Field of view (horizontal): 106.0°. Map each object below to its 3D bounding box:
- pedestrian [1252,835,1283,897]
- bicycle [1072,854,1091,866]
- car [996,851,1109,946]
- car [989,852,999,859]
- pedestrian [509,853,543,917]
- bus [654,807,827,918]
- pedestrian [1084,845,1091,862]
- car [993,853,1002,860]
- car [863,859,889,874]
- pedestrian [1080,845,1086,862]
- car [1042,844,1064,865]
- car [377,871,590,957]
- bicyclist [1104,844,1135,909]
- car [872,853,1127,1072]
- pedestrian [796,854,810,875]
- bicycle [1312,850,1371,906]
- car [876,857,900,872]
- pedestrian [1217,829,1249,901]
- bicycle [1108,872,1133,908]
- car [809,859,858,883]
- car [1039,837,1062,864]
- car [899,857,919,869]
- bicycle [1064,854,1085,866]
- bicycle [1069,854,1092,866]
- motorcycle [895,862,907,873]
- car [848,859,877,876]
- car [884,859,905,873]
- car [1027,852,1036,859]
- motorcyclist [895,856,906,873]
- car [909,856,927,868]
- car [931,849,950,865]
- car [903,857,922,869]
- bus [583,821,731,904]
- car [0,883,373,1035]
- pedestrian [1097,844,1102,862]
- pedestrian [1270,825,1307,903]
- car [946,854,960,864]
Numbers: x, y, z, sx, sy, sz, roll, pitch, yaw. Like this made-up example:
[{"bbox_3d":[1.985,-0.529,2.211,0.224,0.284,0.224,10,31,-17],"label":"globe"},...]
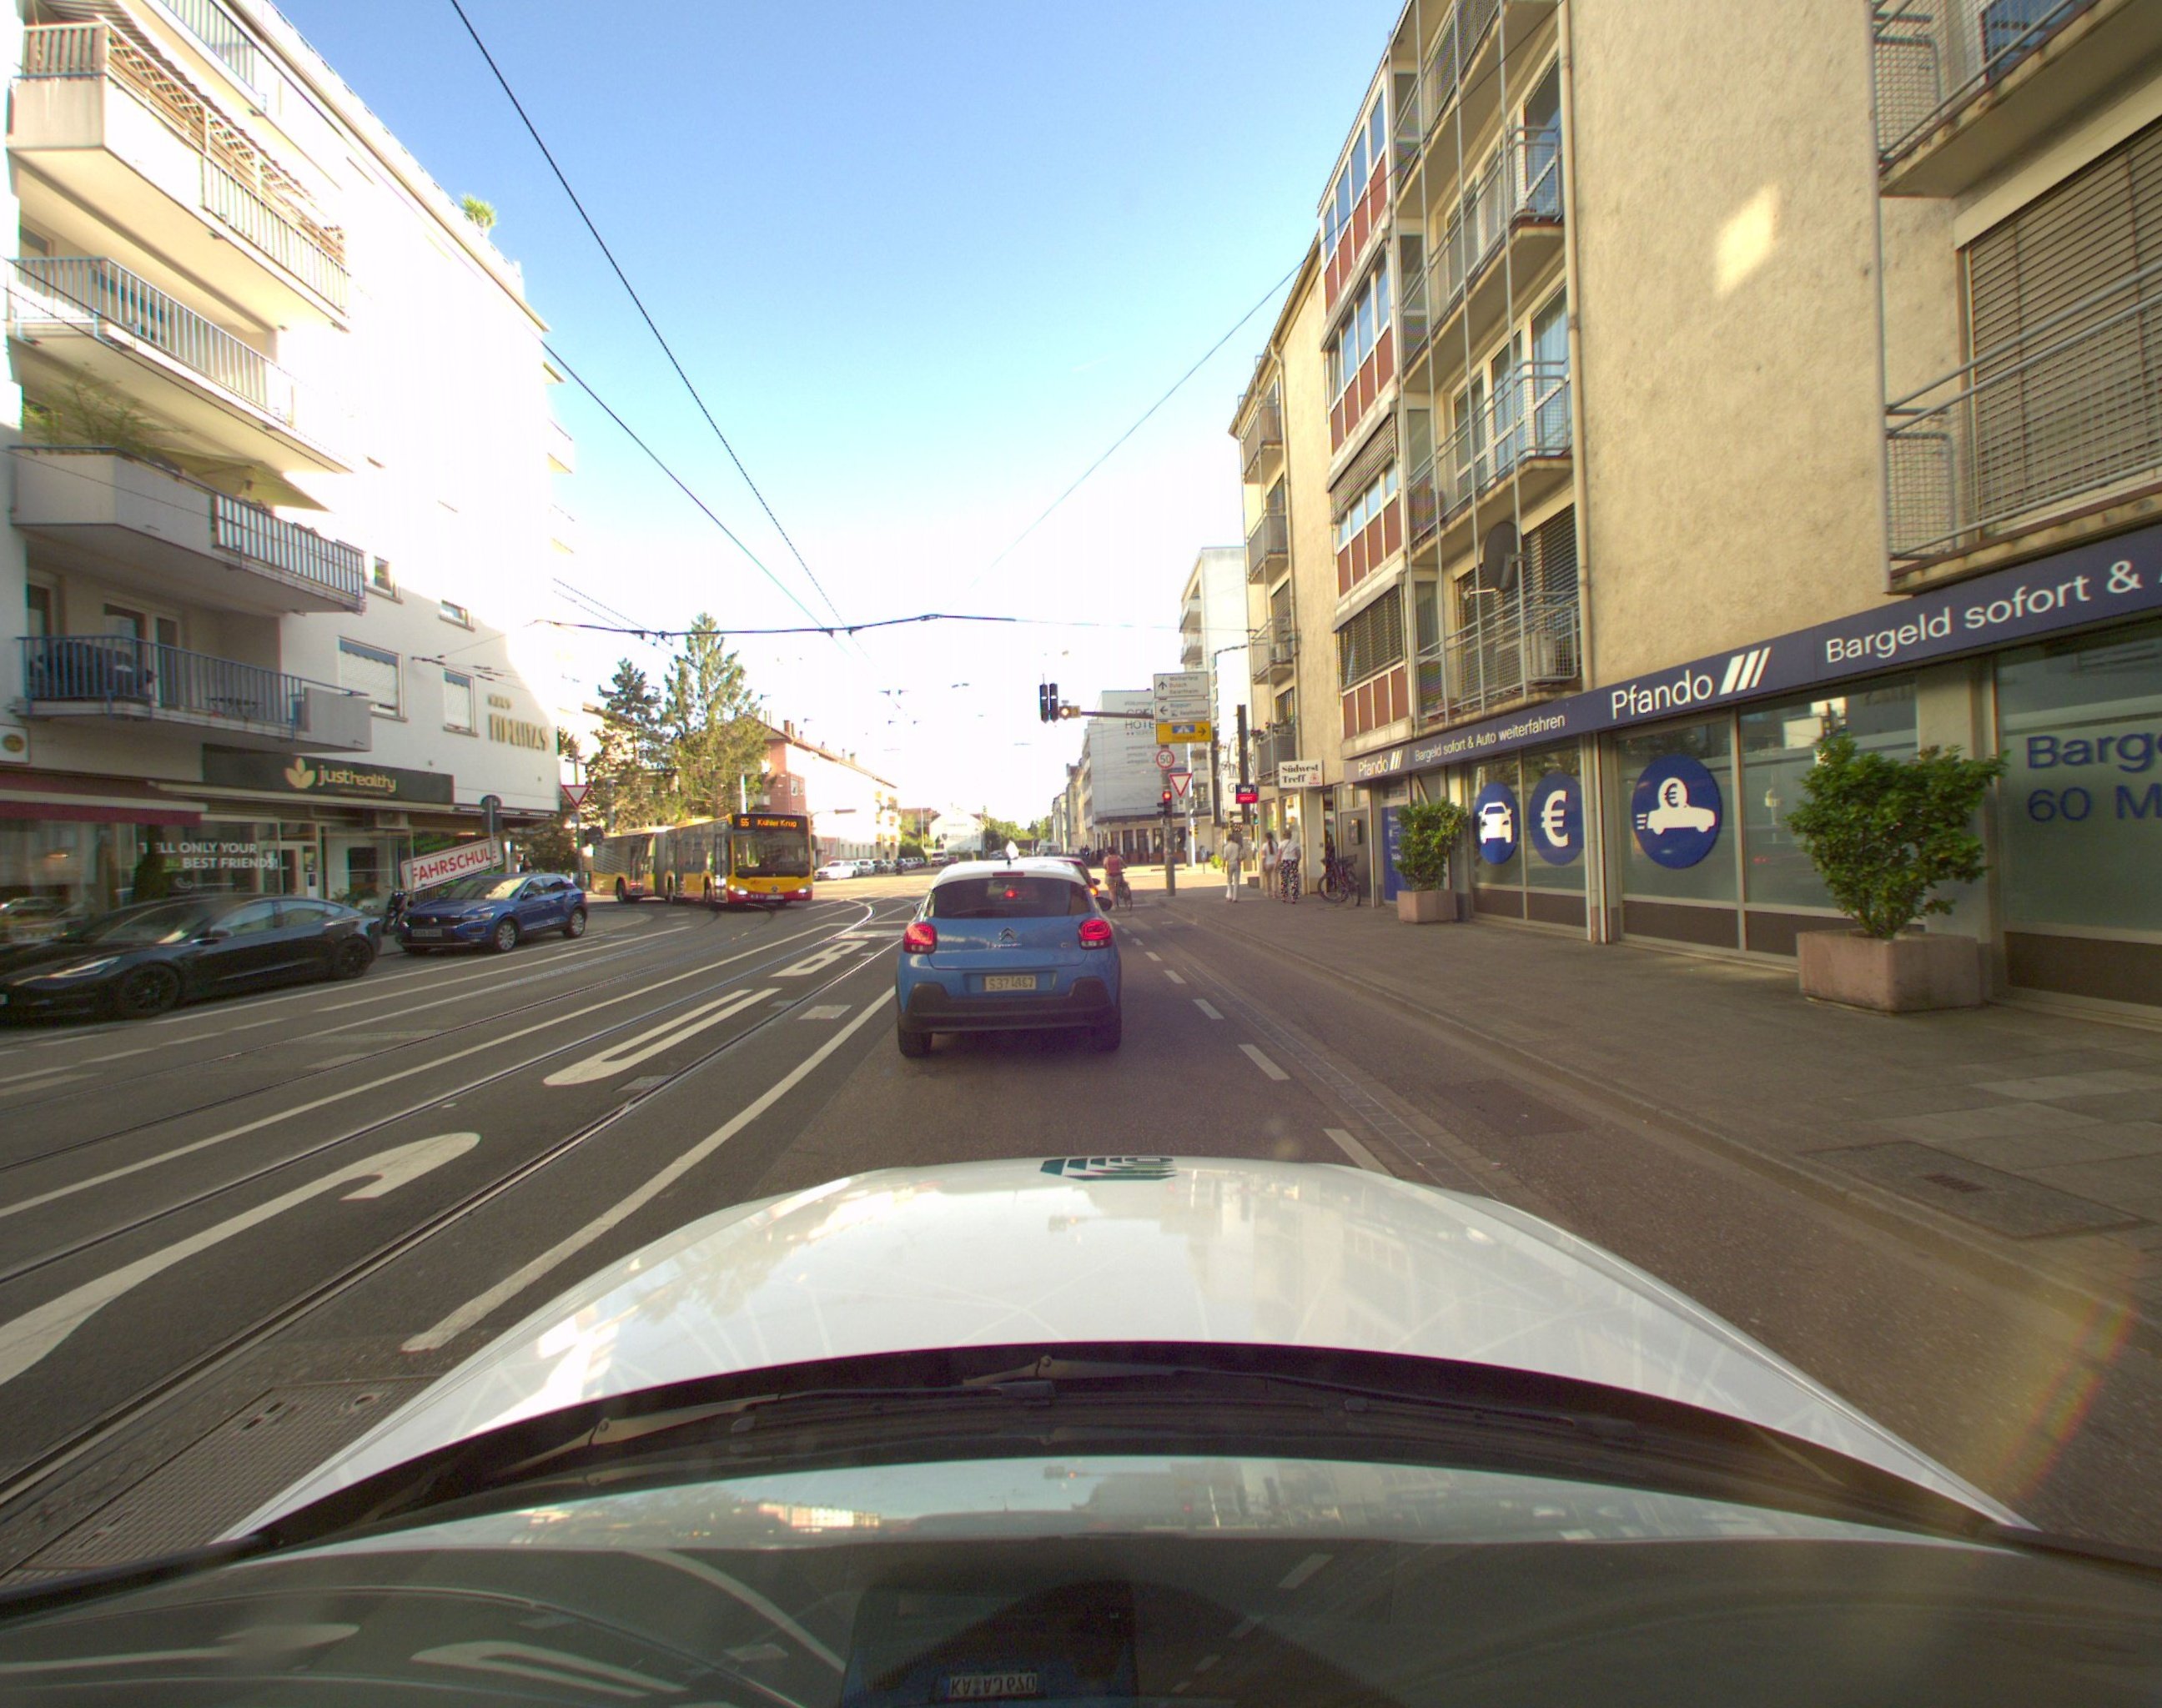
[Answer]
[{"bbox_3d":[4.672,0.289,20.447,0.540,1.507,0.611,-4,2,-2],"label":"pedestrian"},{"bbox_3d":[0.045,0.490,67.227,1.498,0.957,0.702,-2,0,1],"label":"bicycle"},{"bbox_3d":[-0.437,0.695,14.894,1.733,1.420,4.000,-2,0,0],"label":"car"},{"bbox_3d":[-18.200,0.291,170.634,2.017,1.525,3.995,-2,0,-4],"label":"car"},{"bbox_3d":[-17.875,0.974,26.250,0.685,2.013,0.485,-2,0,-6],"label":"pedestrian"},{"bbox_3d":[-12.067,0.292,28.082,2.745,3.158,10.078,-3,0,-38],"label":"bus"},{"bbox_3d":[0.558,-0.042,71.834,0.490,1.556,0.383,-2,0,-3],"label":"pedestrian"},{"bbox_3d":[-19.283,0.509,188.143,2.017,1.525,3.995,-3,0,-4],"label":"car"},{"bbox_3d":[-21.930,1.337,87.180,1.907,1.497,3.995,-2,0,-4],"label":"car"},{"bbox_3d":[0.167,-0.061,77.511,0.490,1.556,0.648,-2,0,1],"label":"pedestrian"},{"bbox_3d":[-2.379,0.054,68.760,1.728,1.750,3.210,-1,0,-3],"label":"car"},{"bbox_3d":[-12.288,1.144,17.121,1.741,1.509,3.993,-1,0,-5],"label":"car"},{"bbox_3d":[1.017,0.577,21.522,0.724,1.646,0.790,-2,0,0],"label":"bicyclist"},{"bbox_3d":[-0.738,0.737,7.660,1.741,1.462,3.992,-1,0,-6],"label":"car"},{"bbox_3d":[-22.939,0.897,67.144,0.840,1.690,0.738,-2,0,3],"label":"pedestrian"},{"bbox_3d":[5.399,0.464,16.970,0.529,1.072,1.809,-2,0,-3],"label":"bicycle"},{"bbox_3d":[-22.078,1.167,93.318,1.907,1.497,3.995,-2,0,-4],"label":"car"},{"bbox_3d":[3.633,0.246,19.500,0.540,1.672,0.624,-4,2,-2],"label":"pedestrian"},{"bbox_3d":[1.049,0.955,21.906,0.497,0.864,1.747,-2,0,-2],"label":"bicycle"},{"bbox_3d":[-18.740,1.250,61.857,1.839,1.574,4.411,-2,0,8],"label":"car"},{"bbox_3d":[-2.779,-0.284,73.675,1.989,2.325,3.996,-1,0,-3],"label":"car"},{"bbox_3d":[-22.635,1.184,107.294,1.907,1.497,3.995,-2,0,-4],"label":"car"},{"bbox_3d":[-0.549,0.505,69.645,1.713,0.957,0.702,-2,0,1],"label":"bicycle"},{"bbox_3d":[-0.037,0.490,68.286,1.866,0.957,0.702,-2,0,1],"label":"bicycle"},{"bbox_3d":[-15.146,1.126,68.504,0.613,0.864,1.671,-2,0,1],"label":"motorcycle"},{"bbox_3d":[-21.540,1.271,80.398,1.907,1.497,3.995,-2,0,-4],"label":"car"},{"bbox_3d":[-22.618,1.442,98.890,1.907,1.497,3.995,-2,0,-4],"label":"car"},{"bbox_3d":[-10.214,0.302,167.284,1.753,1.259,3.823,-2,0,-6],"label":"car"},{"bbox_3d":[-15.148,0.839,68.348,0.716,1.377,0.911,-2,0,0],"label":"motorcyclist"},{"bbox_3d":[-23.465,1.149,117.386,1.866,1.574,3.996,-2,0,-3],"label":"car"},{"bbox_3d":[-20.793,0.451,120.505,2.202,2.251,4.671,-2,0,-3],"label":"car"},{"bbox_3d":[-23.258,1.199,112.293,1.907,1.497,3.995,-2,0,-4],"label":"car"},{"bbox_3d":[-18.136,0.378,34.619,7.480,3.161,2.764,-2,0,39],"label":"bus"},{"bbox_3d":[-12.239,1.228,10.988,1.695,1.509,4.308,-1,0,-2],"label":"car"},{"bbox_3d":[1.624,-0.063,71.373,0.284,1.556,0.304,-2,0,-8],"label":"pedestrian"},{"bbox_3d":[4.653,0.221,18.310,0.540,1.672,0.650,-4,0,-2],"label":"pedestrian"},{"bbox_3d":[-22.958,0.872,145.796,2.017,1.525,3.995,-2,0,-4],"label":"car"}]
